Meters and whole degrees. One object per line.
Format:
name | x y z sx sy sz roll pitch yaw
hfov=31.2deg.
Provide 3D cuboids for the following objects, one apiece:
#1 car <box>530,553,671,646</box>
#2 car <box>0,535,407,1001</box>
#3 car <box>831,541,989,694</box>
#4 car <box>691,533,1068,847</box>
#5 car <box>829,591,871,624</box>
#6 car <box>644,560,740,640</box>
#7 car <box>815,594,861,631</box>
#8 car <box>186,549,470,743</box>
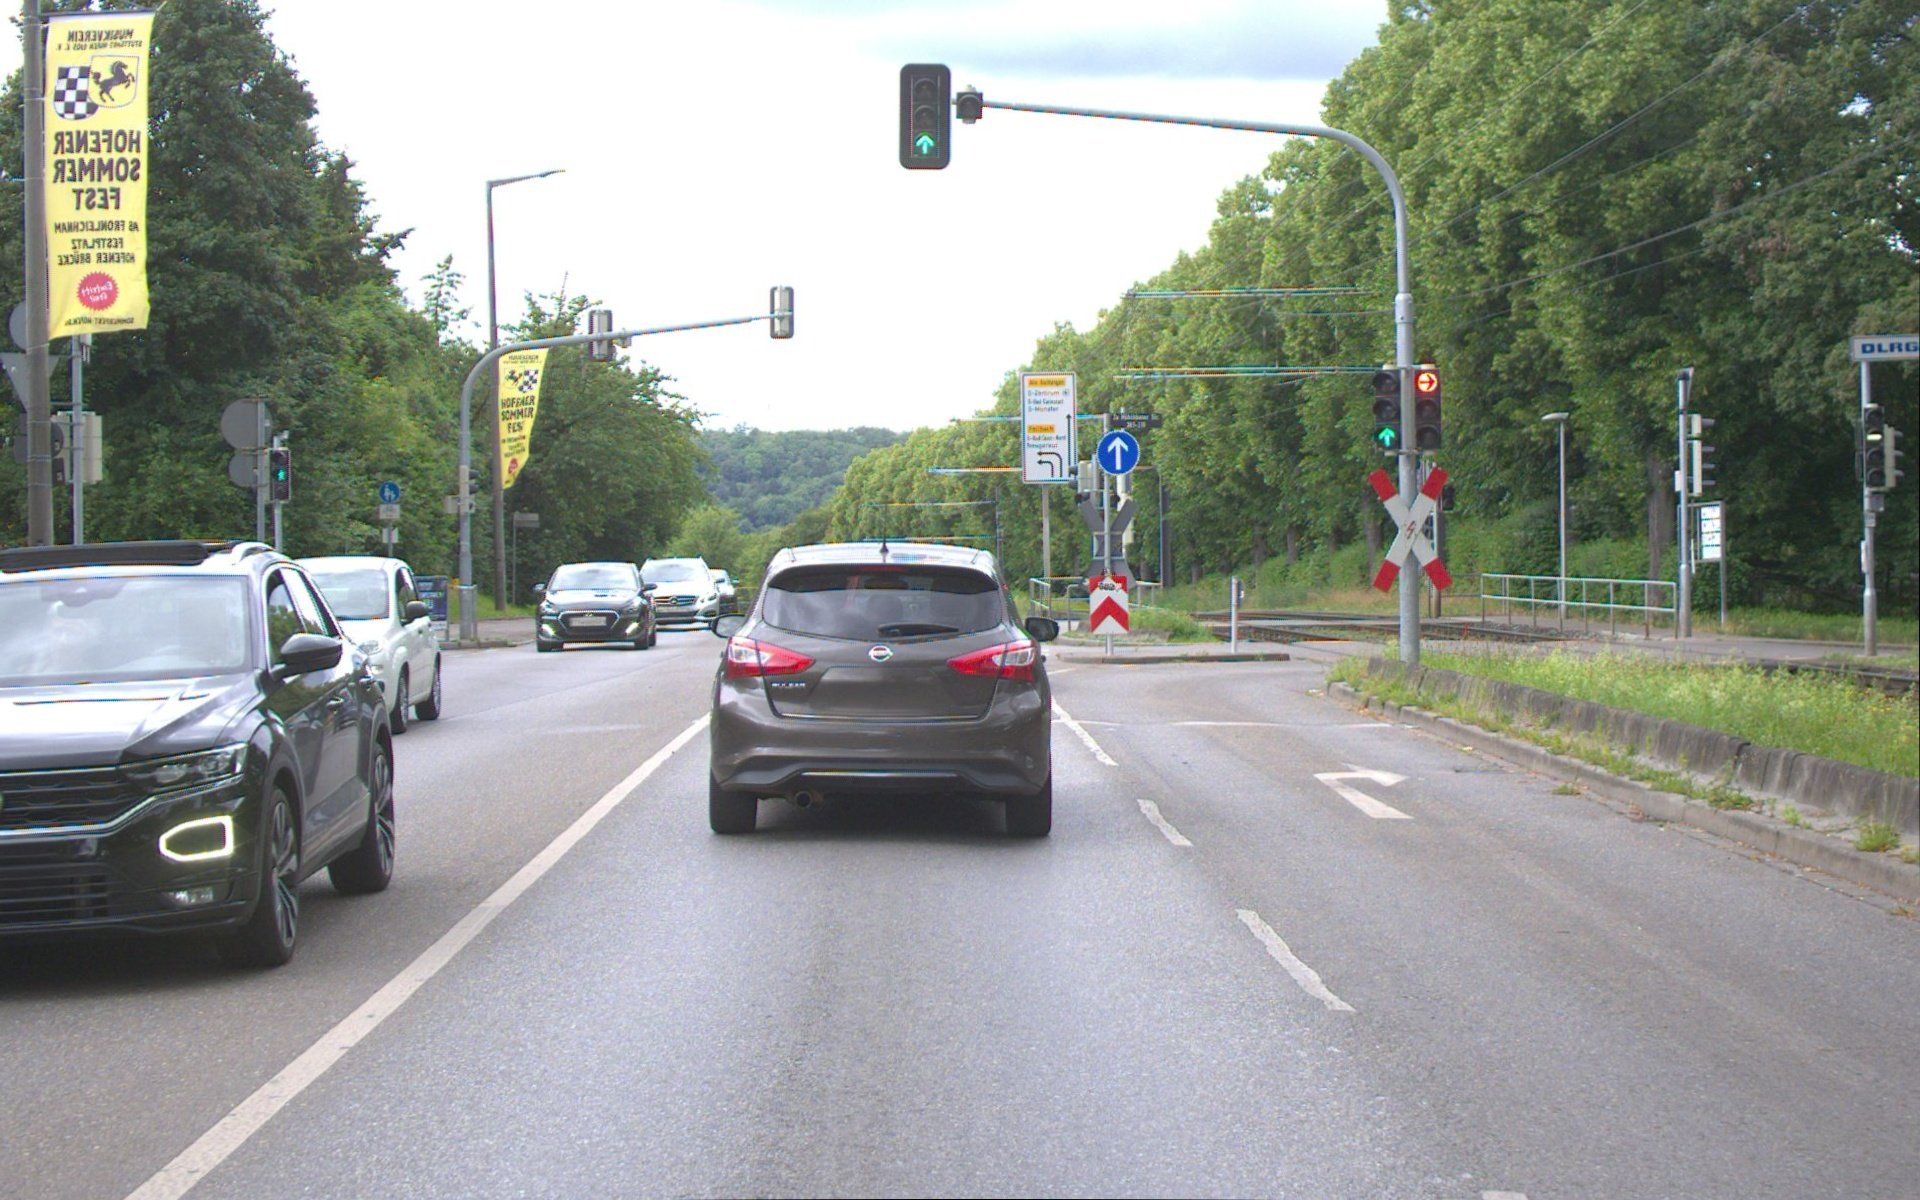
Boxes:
car | -5.855 -0.035 56.335 1.812 1.368 4.160 3 1 0
car | -3.363 0.539 13.496 1.812 1.519 4.178 -2 1 -2
car | -0.514 0.142 36.277 1.538 1.473 3.764 -2 1 0
car | -0.415 0.402 19.232 1.835 1.514 4.483 1 1 0
car | -4.806 0.320 150.179 1.741 1.305 4.001 2 1 -2
car | -5.561 -0.026 71.816 1.818 1.561 5.206 1 1 -3
car | -4.752 0.476 133.580 1.741 1.305 4.001 2 1 -2
car | -5.558 0.347 30.774 1.812 1.519 4.701 -2 1 -2
